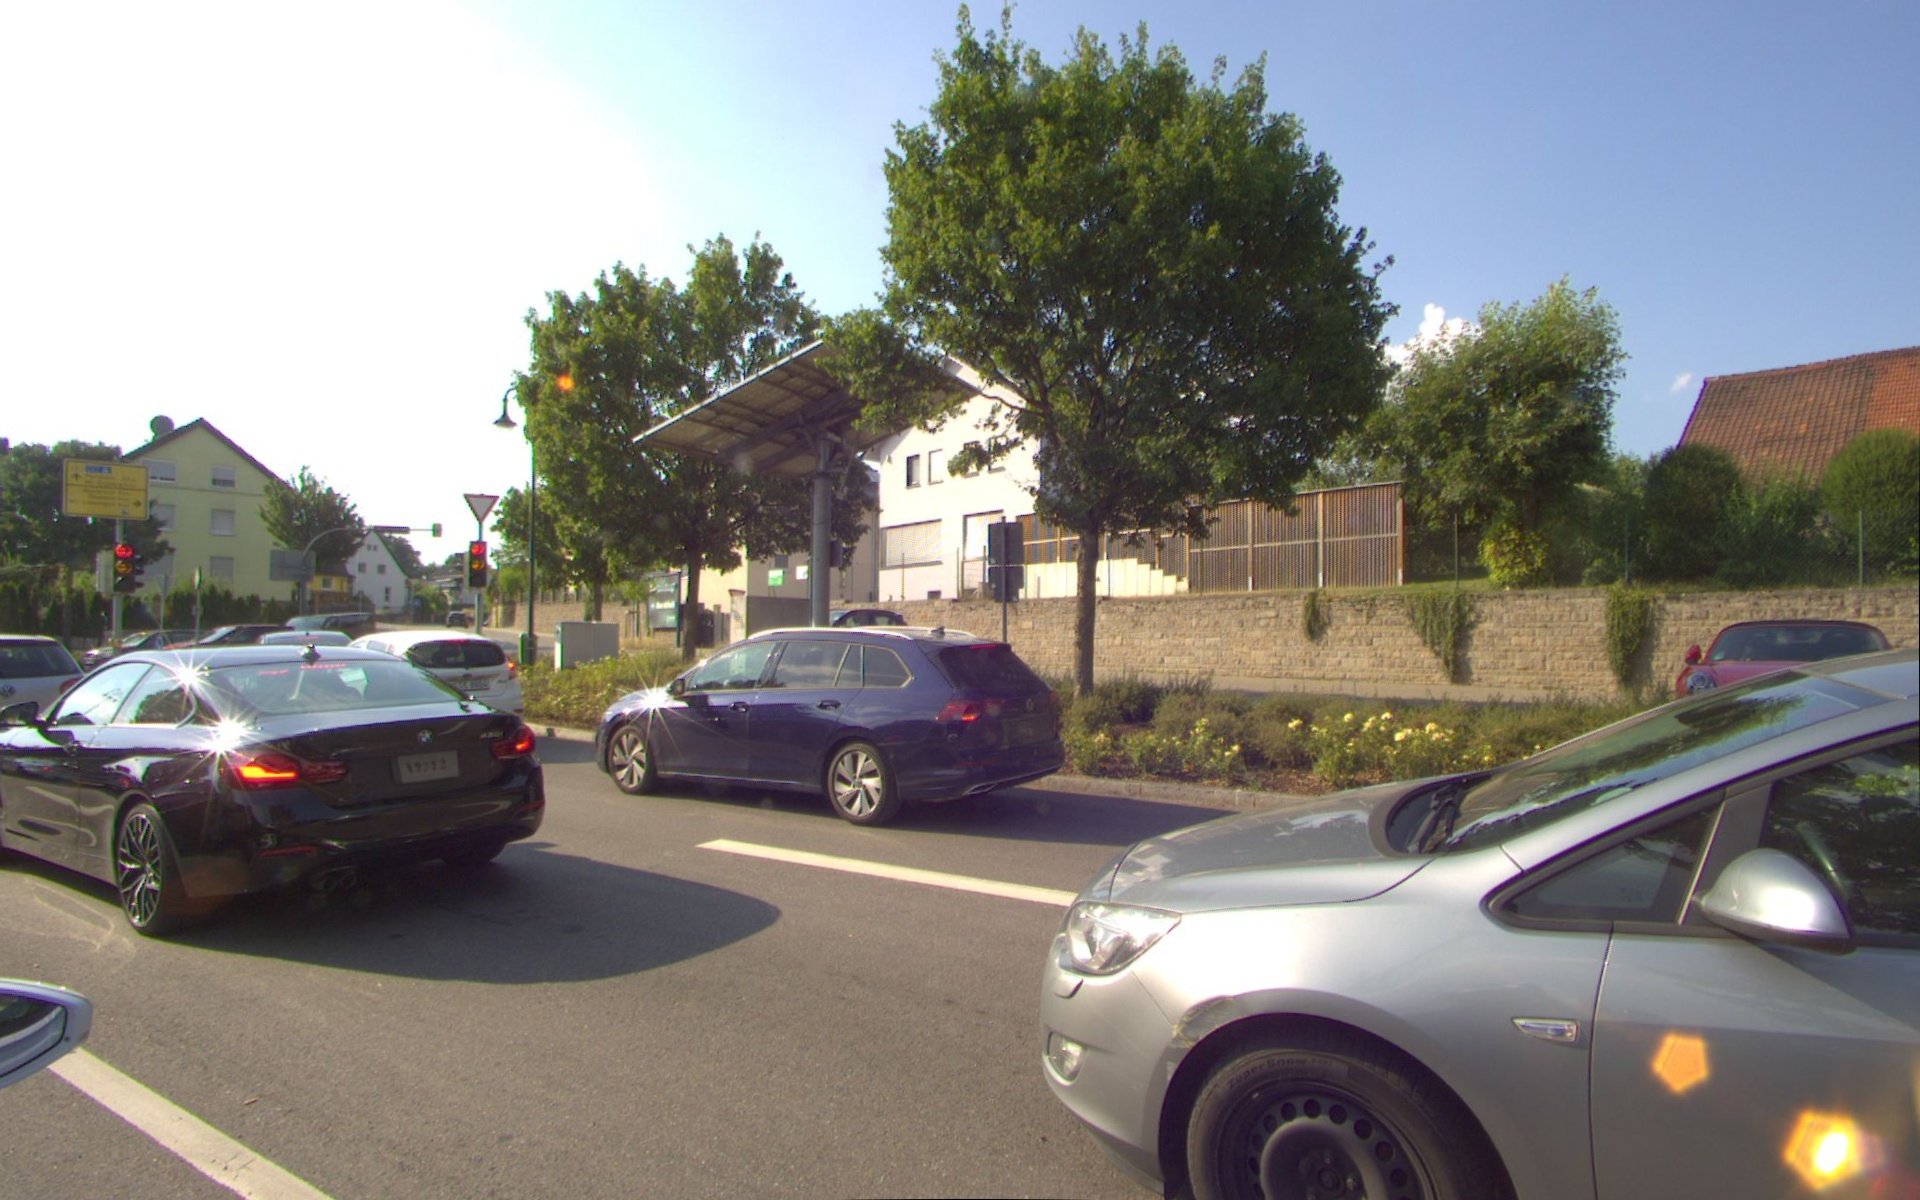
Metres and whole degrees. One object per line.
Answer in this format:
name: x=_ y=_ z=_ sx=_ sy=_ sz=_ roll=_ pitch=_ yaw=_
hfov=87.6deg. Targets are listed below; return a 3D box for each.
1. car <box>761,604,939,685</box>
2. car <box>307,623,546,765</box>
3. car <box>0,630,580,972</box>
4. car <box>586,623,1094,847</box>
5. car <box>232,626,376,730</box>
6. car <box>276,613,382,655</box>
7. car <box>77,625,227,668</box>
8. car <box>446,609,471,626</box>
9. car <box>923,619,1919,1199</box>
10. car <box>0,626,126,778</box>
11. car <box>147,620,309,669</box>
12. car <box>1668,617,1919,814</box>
car: x=-2.377 y=0.967 z=22.299 sx=1.758 sy=1.653 sz=3.800 roll=-1 pitch=-2 yaw=40
car: x=-6.917 y=1.086 z=12.889 sx=3.278 sy=1.562 sz=1.611 roll=-1 pitch=0 yaw=40
car: x=-4.434 y=0.920 z=6.188 sx=4.220 sy=1.416 sz=1.758 roll=-1 pitch=0 yaw=33
car: x=-1.155 y=0.954 z=8.653 sx=4.259 sy=1.472 sz=1.757 roll=-1 pitch=0 yaw=34
car: x=-11.752 y=1.276 z=17.816 sx=1.643 sy=1.562 sz=4.362 roll=0 pitch=0 yaw=-40
car: x=-28.169 y=1.529 z=44.910 sx=1.812 sy=1.761 sz=4.786 roll=0 pitch=-2 yaw=-1
car: x=-30.072 y=1.719 z=37.366 sx=1.821 sy=1.508 sz=3.983 roll=-1 pitch=-2 yaw=30
car: x=-50.651 y=1.755 z=101.167 sx=1.939 sy=1.701 sz=4.202 roll=0 pitch=-1 yaw=-22
car: x=2.174 y=0.789 z=2.163 sx=4.256 sy=1.472 sz=1.758 roll=-1 pitch=0 yaw=31
car: x=-10.805 y=1.016 z=10.781 sx=3.848 sy=1.444 sz=1.758 roll=-1 pitch=0 yaw=33
car: x=-26.486 y=1.600 z=36.412 sx=1.818 sy=1.662 sz=4.418 roll=0 pitch=-2 yaw=25
car: x=8.226 y=0.960 z=9.746 sx=1.758 sy=1.510 sz=4.120 roll=-1 pitch=-2 yaw=41
